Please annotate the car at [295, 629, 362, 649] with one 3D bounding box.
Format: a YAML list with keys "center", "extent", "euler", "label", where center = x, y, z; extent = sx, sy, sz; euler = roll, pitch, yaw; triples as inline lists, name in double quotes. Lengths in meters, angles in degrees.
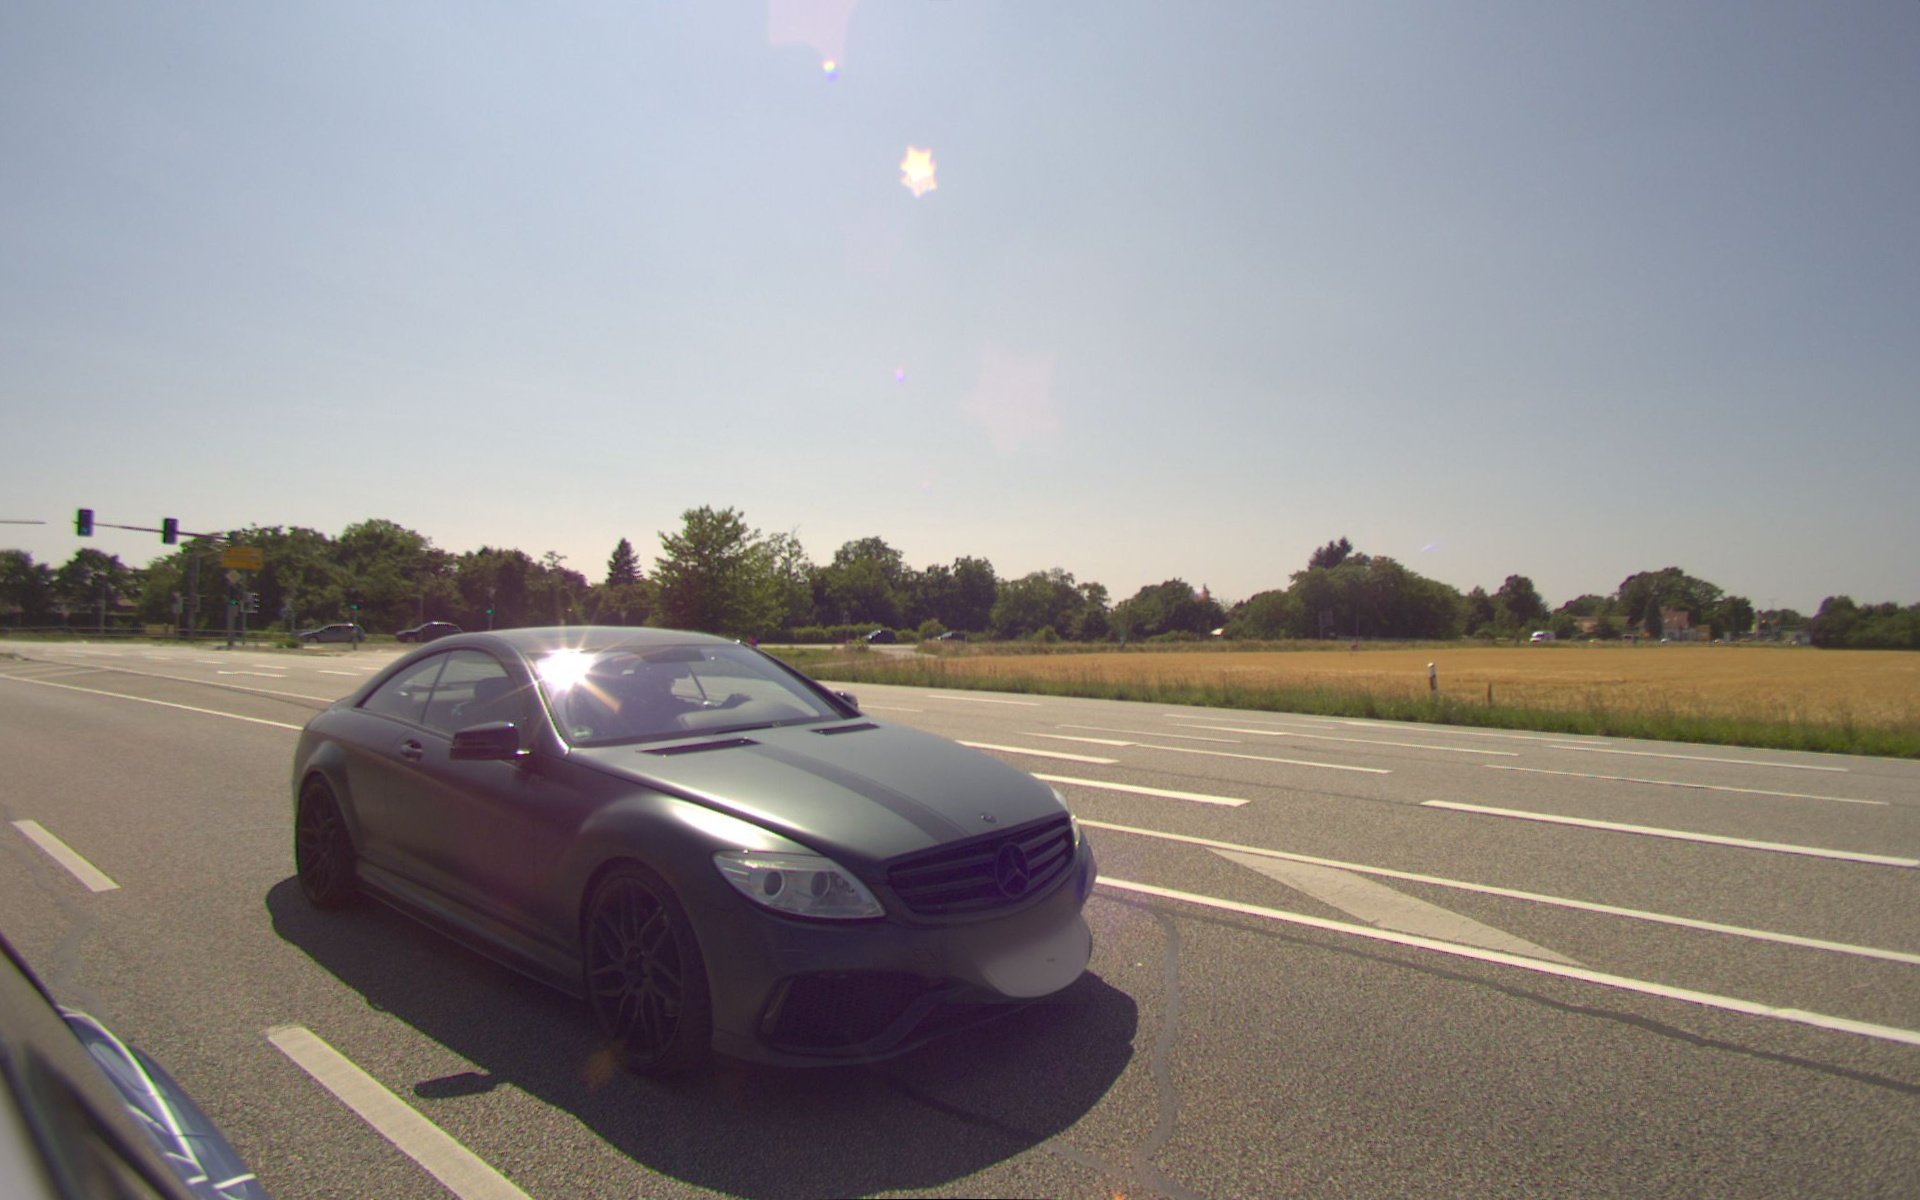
- center: [-44.619, 2.754, 71.517]
  extent: [3.818, 1.397, 1.638]
  euler: [1, -3, -38]
  label: "car"

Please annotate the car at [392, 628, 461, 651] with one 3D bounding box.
- center: [-39.622, 2.920, 75.193]
  extent: [4.297, 1.606, 1.639]
  euler: [3, -3, -36]
  label: "car"

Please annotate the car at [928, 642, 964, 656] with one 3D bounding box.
- center: [-1.559, 5.337, 109.796]
  extent: [3.712, 1.397, 1.503]
  euler: [3, -3, -36]
  label: "car"

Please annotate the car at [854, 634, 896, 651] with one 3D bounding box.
- center: [-8.418, 4.212, 100.646]
  extent: [3.940, 1.586, 1.739]
  euler: [0, 0, -44]
  label: "car"

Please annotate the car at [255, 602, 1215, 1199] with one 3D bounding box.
- center: [-1.474, 0.781, 4.699]
  extent: [4.873, 1.461, 1.792]
  euler: [-1, -1, 40]
  label: "car"
